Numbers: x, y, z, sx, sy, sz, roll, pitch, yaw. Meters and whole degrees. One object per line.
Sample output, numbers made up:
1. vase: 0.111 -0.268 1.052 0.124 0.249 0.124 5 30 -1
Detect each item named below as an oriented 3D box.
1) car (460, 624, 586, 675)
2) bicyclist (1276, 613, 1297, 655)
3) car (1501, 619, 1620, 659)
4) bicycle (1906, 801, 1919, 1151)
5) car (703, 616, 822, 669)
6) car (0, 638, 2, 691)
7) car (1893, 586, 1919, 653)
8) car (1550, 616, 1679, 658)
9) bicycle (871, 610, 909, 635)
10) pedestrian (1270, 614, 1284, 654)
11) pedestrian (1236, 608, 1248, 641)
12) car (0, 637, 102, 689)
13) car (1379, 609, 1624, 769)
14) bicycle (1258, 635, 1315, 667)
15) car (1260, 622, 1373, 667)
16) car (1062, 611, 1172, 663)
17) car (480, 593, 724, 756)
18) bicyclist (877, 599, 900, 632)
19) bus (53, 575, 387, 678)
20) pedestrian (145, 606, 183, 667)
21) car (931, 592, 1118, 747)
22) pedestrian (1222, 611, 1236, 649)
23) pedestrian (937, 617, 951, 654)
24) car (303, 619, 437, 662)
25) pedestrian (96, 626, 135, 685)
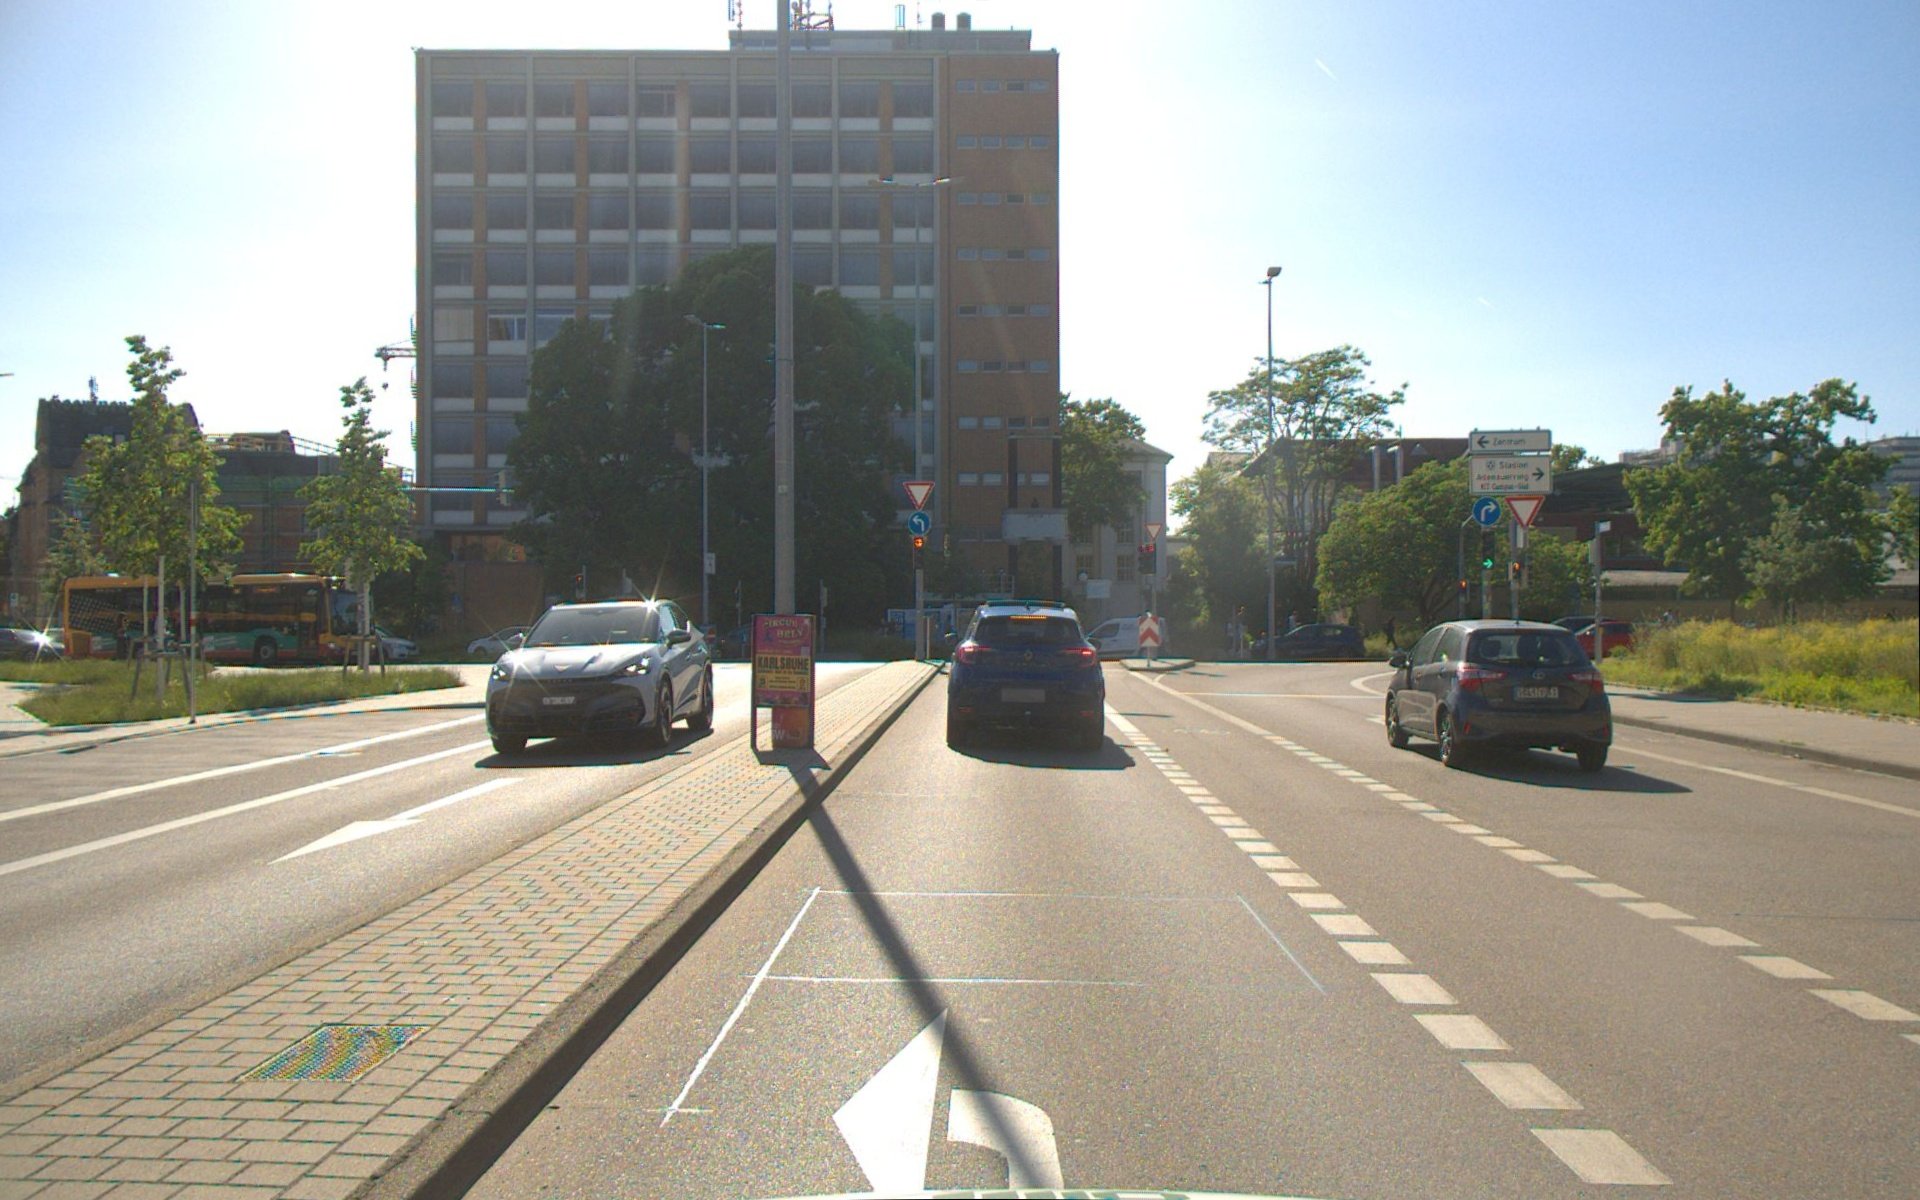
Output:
1. car: -17.865 2.039 67.738 4.551 2.049 2.001 0 -2 9
2. bicyclist: 14.459 1.511 73.227 0.838 1.879 0.851 0 -3 17
3. car: 22.626 1.452 62.414 3.902 1.490 2.002 0 -1 8
4. bicycle: 3.089 1.061 3.808 0.708 0.976 1.883 2 -1 -1
5. car: -7.837 1.688 65.793 4.278 2.049 2.001 0 -2 11
6. car: -39.172 2.473 64.097 3.916 2.049 2.005 -1 -3 33
7. car: 39.233 0.724 62.156 7.003 2.466 2.075 0 -1 5
8. car: 23.326 1.317 59.086 3.902 1.490 2.001 0 -1 8
9. bicycle: -3.152 1.025 74.638 1.653 1.112 0.603 0 -1 -36
10. pedestrian: 13.564 1.461 70.679 0.544 1.699 0.477 0 -3 16
11. pedestrian: 14.409 1.258 84.591 0.564 1.699 0.562 0 -2 11
12. car: -36.726 2.526 66.785 3.916 2.049 2.005 -1 -3 33
13. car: 5.862 0.936 18.326 1.719 1.569 3.660 1 -2 4
14. bicycle: 14.454 2.260 73.238 2.399 1.395 0.851 0 -3 17
15. car: 13.256 1.664 61.558 4.027 1.614 1.881 0 -2 13
16. car: 6.362 1.486 66.678 4.255 2.049 2.001 0 -2 11
17. car: -3.934 0.767 18.897 1.781 1.596 4.250 -2 0 1
18. bicyclist: -3.219 0.697 74.592 0.810 1.469 0.612 0 -1 -36
19. bus: -26.284 0.982 58.624 12.147 3.456 2.883 -1 -3 20
20. pedestrian: -23.582 1.084 49.000 0.611 1.772 0.788 0 -3 17
21. car: 0.665 0.784 19.590 1.787 1.628 3.655 1 -1 -4
22. pedestrian: 11.843 1.321 72.860 0.548 1.699 0.477 0 -3 16
23. pedestrian: -0.741 1.659 76.651 0.548 1.699 0.477 0 -3 16
24. car: -21.567 1.488 60.462 4.304 1.548 1.971 0 -2 18
25. pedestrian: -25.536 1.684 50.025 0.640 1.772 0.788 0 -3 17
